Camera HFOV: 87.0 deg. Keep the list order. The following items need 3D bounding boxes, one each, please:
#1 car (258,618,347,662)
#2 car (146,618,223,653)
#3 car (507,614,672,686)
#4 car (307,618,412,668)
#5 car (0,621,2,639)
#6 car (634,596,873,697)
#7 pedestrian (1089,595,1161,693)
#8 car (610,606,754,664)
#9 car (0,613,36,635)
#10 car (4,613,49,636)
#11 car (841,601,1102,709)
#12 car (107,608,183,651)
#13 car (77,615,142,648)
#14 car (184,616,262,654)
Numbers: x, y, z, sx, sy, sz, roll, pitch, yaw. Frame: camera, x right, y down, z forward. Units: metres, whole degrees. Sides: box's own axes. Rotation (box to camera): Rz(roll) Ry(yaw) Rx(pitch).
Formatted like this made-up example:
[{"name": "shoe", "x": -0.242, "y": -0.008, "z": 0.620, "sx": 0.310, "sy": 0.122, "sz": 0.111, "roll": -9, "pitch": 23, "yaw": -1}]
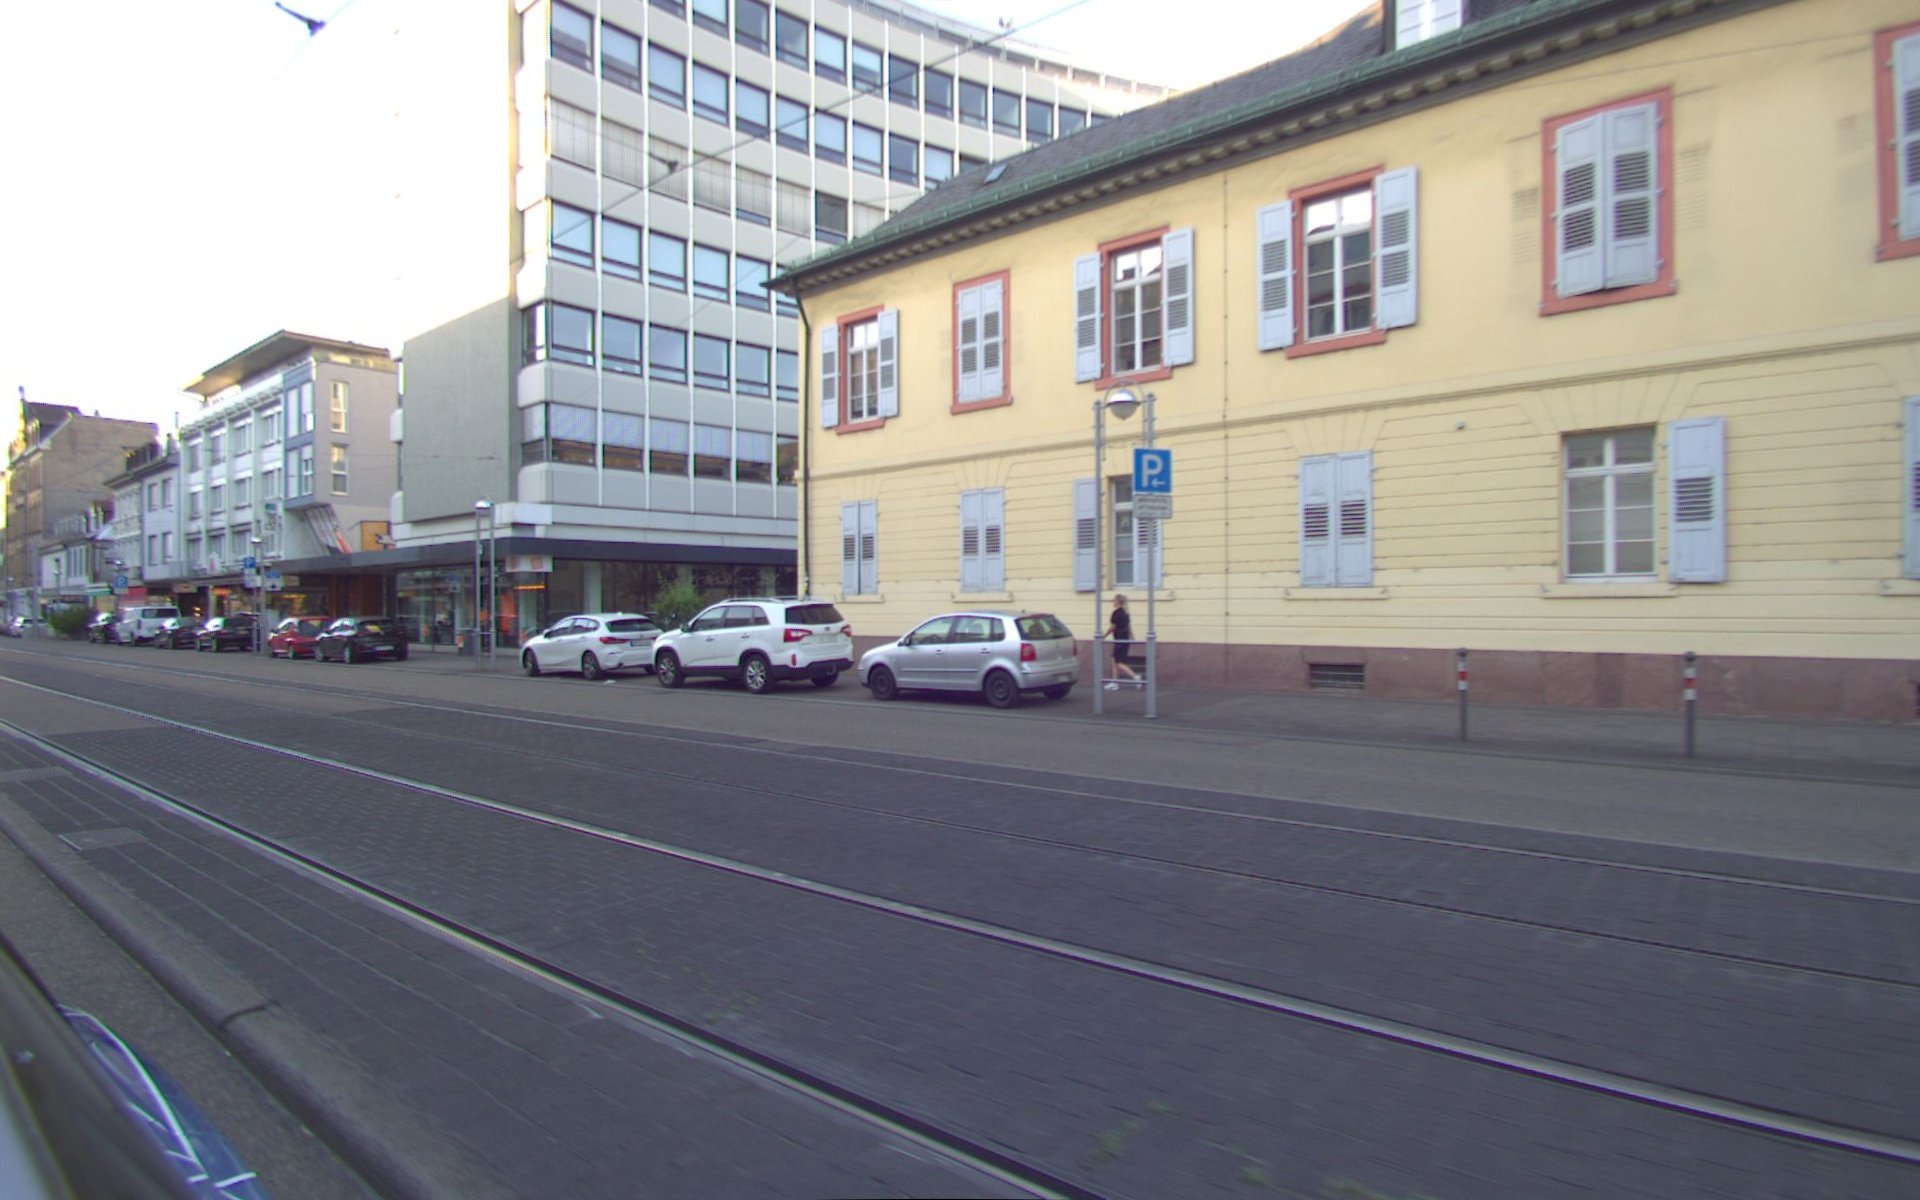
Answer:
[{"name": "car", "x": -23.285, "y": 1.384, "z": 35.829, "sx": 3.589, "sy": 1.445, "sz": 1.674, "roll": -1, "pitch": -1, "yaw": 40}, {"name": "car", "x": -35.636, "y": 1.582, "z": 46.460, "sx": 4.567, "sy": 1.437, "sz": 1.853, "roll": -1, "pitch": 1, "yaw": 40}, {"name": "car", "x": -8.738, "y": 1.117, "z": 23.707, "sx": 4.279, "sy": 1.464, "sz": 1.704, "roll": -1, "pitch": 1, "yaw": 40}, {"name": "car", "x": -19.309, "y": 1.344, "z": 32.492, "sx": 3.962, "sy": 1.436, "sz": 1.675, "roll": -1, "pitch": 1, "yaw": 40}, {"name": "car", "x": -83.744, "y": 2.575, "z": 86.853, "sx": 3.813, "sy": 1.504, "sz": 1.823, "roll": -1, "pitch": 1, "yaw": 40}, {"name": "car", "x": -4.074, "y": 0.829, "z": 19.534, "sx": 4.754, "sy": 1.673, "sz": 1.869, "roll": -1, "pitch": 1, "yaw": 38}, {"name": "pedestrian", "x": 2.745, "y": 0.707, "z": 16.876, "sx": 0.877, "sy": 1.553, "sz": 0.791, "roll": -1, "pitch": 1, "yaw": 42}, {"name": "car", "x": -8.573, "y": 1.020, "z": 31.414, "sx": 1.911, "sy": 1.564, "sz": 3.950, "roll": -1, "pitch": 1, "yaw": 38}, {"name": "car", "x": -71.717, "y": 1.820, "z": 77.011, "sx": 3.468, "sy": 1.582, "sz": 1.638, "roll": -1, "pitch": 1, "yaw": 41}, {"name": "car", "x": -67.786, "y": 1.752, "z": 73.471, "sx": 4.619, "sy": 1.568, "sz": 1.872, "roll": -1, "pitch": 1, "yaw": 40}, {"name": "car", "x": 0.109, "y": 0.824, "z": 16.336, "sx": 3.996, "sy": 1.485, "sz": 1.731, "roll": -2, "pitch": 0, "yaw": 40}, {"name": "car", "x": -41.363, "y": 1.439, "z": 51.304, "sx": 5.094, "sy": 2.029, "sz": 1.945, "roll": -1, "pitch": 1, "yaw": 39}, {"name": "car", "x": -47.125, "y": 1.711, "z": 56.072, "sx": 4.585, "sy": 1.710, "sz": 1.974, "roll": -1, "pitch": 1, "yaw": 40}, {"name": "car", "x": -30.594, "y": 1.419, "z": 41.970, "sx": 4.089, "sy": 1.472, "sz": 1.772, "roll": -1, "pitch": -1, "yaw": 41}]
